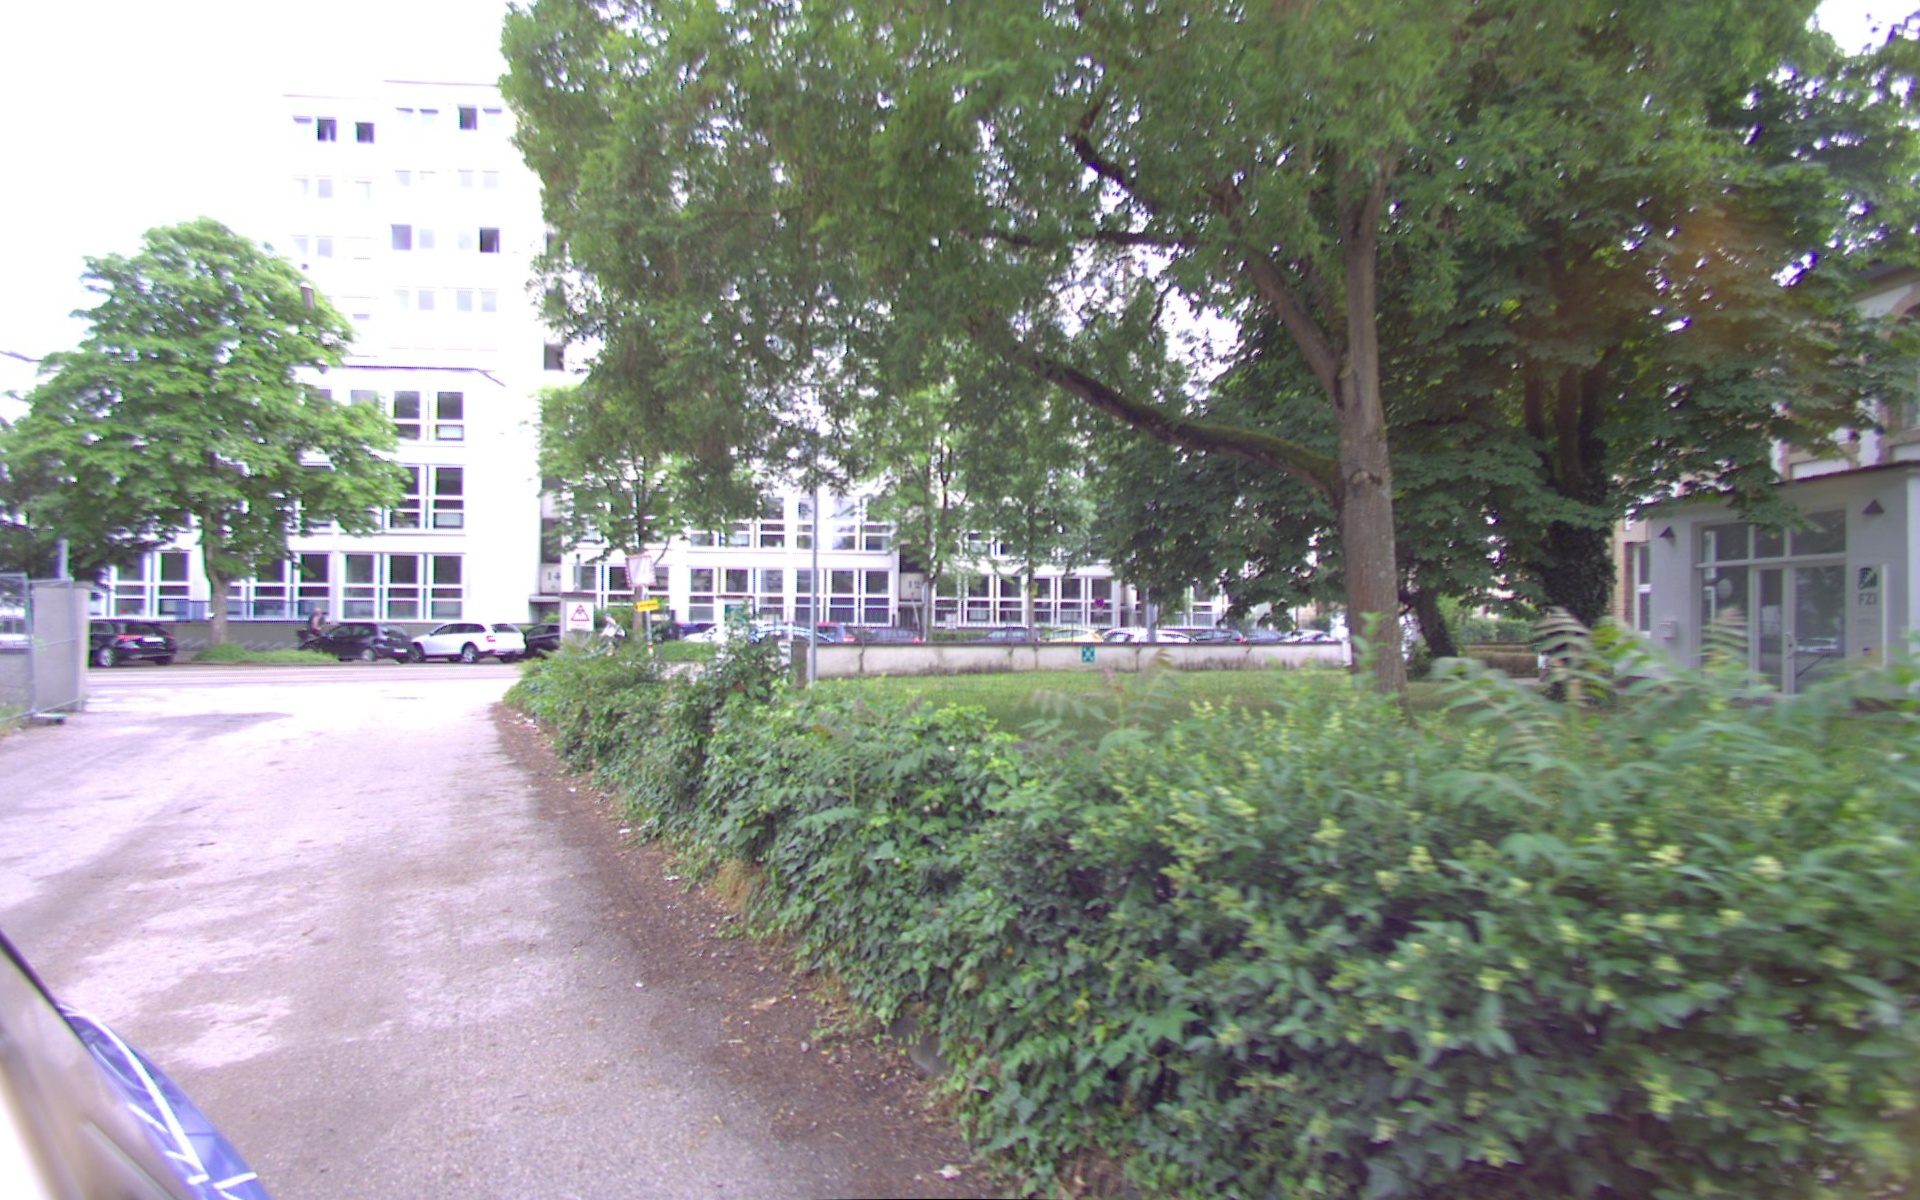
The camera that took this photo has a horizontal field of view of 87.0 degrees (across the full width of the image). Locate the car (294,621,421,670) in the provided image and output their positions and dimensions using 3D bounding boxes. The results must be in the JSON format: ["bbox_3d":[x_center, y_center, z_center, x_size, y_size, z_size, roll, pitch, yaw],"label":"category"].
[{"bbox_3d":[-20.510,1.520,34.500,3.674,1.535,1.690,1,0,17],"label":"car"}]

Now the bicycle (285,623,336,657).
[{"bbox_3d":[-24.800,1.511,38.650,1.568,1.278,0.407,1,-2,-20],"label":"bicycle"}]

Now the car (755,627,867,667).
[{"bbox_3d":[-6.180,1.940,42.072,4.308,1.465,1.691,1,0,16],"label":"car"}]

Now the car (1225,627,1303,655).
[{"bbox_3d":[16.505,2.196,54.994,3.714,1.396,1.678,1,0,37],"label":"car"}]

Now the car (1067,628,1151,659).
[{"bbox_3d":[7.380,2.137,49.998,3.933,1.362,1.691,1,0,16],"label":"car"}]

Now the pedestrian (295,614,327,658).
[{"bbox_3d":[-25.019,1.386,39.027,0.743,1.623,0.735,3,-1,-8],"label":"pedestrian"}]

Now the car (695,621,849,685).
[{"bbox_3d":[-4.614,1.291,24.914,3.373,1.472,1.684,1,-3,-30],"label":"car"}]

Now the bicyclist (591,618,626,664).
[{"bbox_3d":[-11.954,1.393,34.422,1.009,1.512,0.848,1,-2,-28],"label":"bicyclist"}]

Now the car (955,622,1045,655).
[{"bbox_3d":[1.868,1.779,47.053,3.933,1.362,1.691,1,0,16],"label":"car"}]

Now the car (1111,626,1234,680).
[{"bbox_3d":[6.430,1.567,30.588,3.504,1.492,1.485,1,0,-30],"label":"car"}]

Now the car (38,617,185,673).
[{"bbox_3d":[-25.756,1.331,30.732,3.674,1.535,1.690,1,0,17],"label":"car"}]

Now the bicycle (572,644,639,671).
[{"bbox_3d":[-12.027,1.954,34.363,2.101,0.875,0.472,1,-2,-28],"label":"bicycle"}]

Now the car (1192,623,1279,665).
[{"bbox_3d":[14.566,2.308,53.533,3.991,2.029,1.976,0,-1,35],"label":"car"}]

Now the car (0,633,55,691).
[{"bbox_3d":[-28.529,1.766,29.489,3.620,1.535,1.564,1,0,17],"label":"car"}]

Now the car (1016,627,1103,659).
[{"bbox_3d":[4.777,2.053,48.664,3.933,1.362,1.691,1,0,16],"label":"car"}]

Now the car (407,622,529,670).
[{"bbox_3d":[-17.488,1.595,35.959,4.004,1.495,1.686,1,0,24],"label":"car"}]

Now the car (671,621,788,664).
[{"bbox_3d":[-9.272,1.687,40.766,4.302,1.567,1.693,1,0,13],"label":"car"}]

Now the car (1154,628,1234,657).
[{"bbox_3d":[12.049,2.162,52.007,3.933,1.362,1.691,1,0,16],"label":"car"}]

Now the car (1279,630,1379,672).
[{"bbox_3d":[12.322,1.677,33.777,3.125,1.312,1.518,1,-2,-32],"label":"car"}]

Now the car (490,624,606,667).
[{"bbox_3d":[-15.294,1.656,37.551,4.004,1.416,1.686,1,0,24],"label":"car"}]
